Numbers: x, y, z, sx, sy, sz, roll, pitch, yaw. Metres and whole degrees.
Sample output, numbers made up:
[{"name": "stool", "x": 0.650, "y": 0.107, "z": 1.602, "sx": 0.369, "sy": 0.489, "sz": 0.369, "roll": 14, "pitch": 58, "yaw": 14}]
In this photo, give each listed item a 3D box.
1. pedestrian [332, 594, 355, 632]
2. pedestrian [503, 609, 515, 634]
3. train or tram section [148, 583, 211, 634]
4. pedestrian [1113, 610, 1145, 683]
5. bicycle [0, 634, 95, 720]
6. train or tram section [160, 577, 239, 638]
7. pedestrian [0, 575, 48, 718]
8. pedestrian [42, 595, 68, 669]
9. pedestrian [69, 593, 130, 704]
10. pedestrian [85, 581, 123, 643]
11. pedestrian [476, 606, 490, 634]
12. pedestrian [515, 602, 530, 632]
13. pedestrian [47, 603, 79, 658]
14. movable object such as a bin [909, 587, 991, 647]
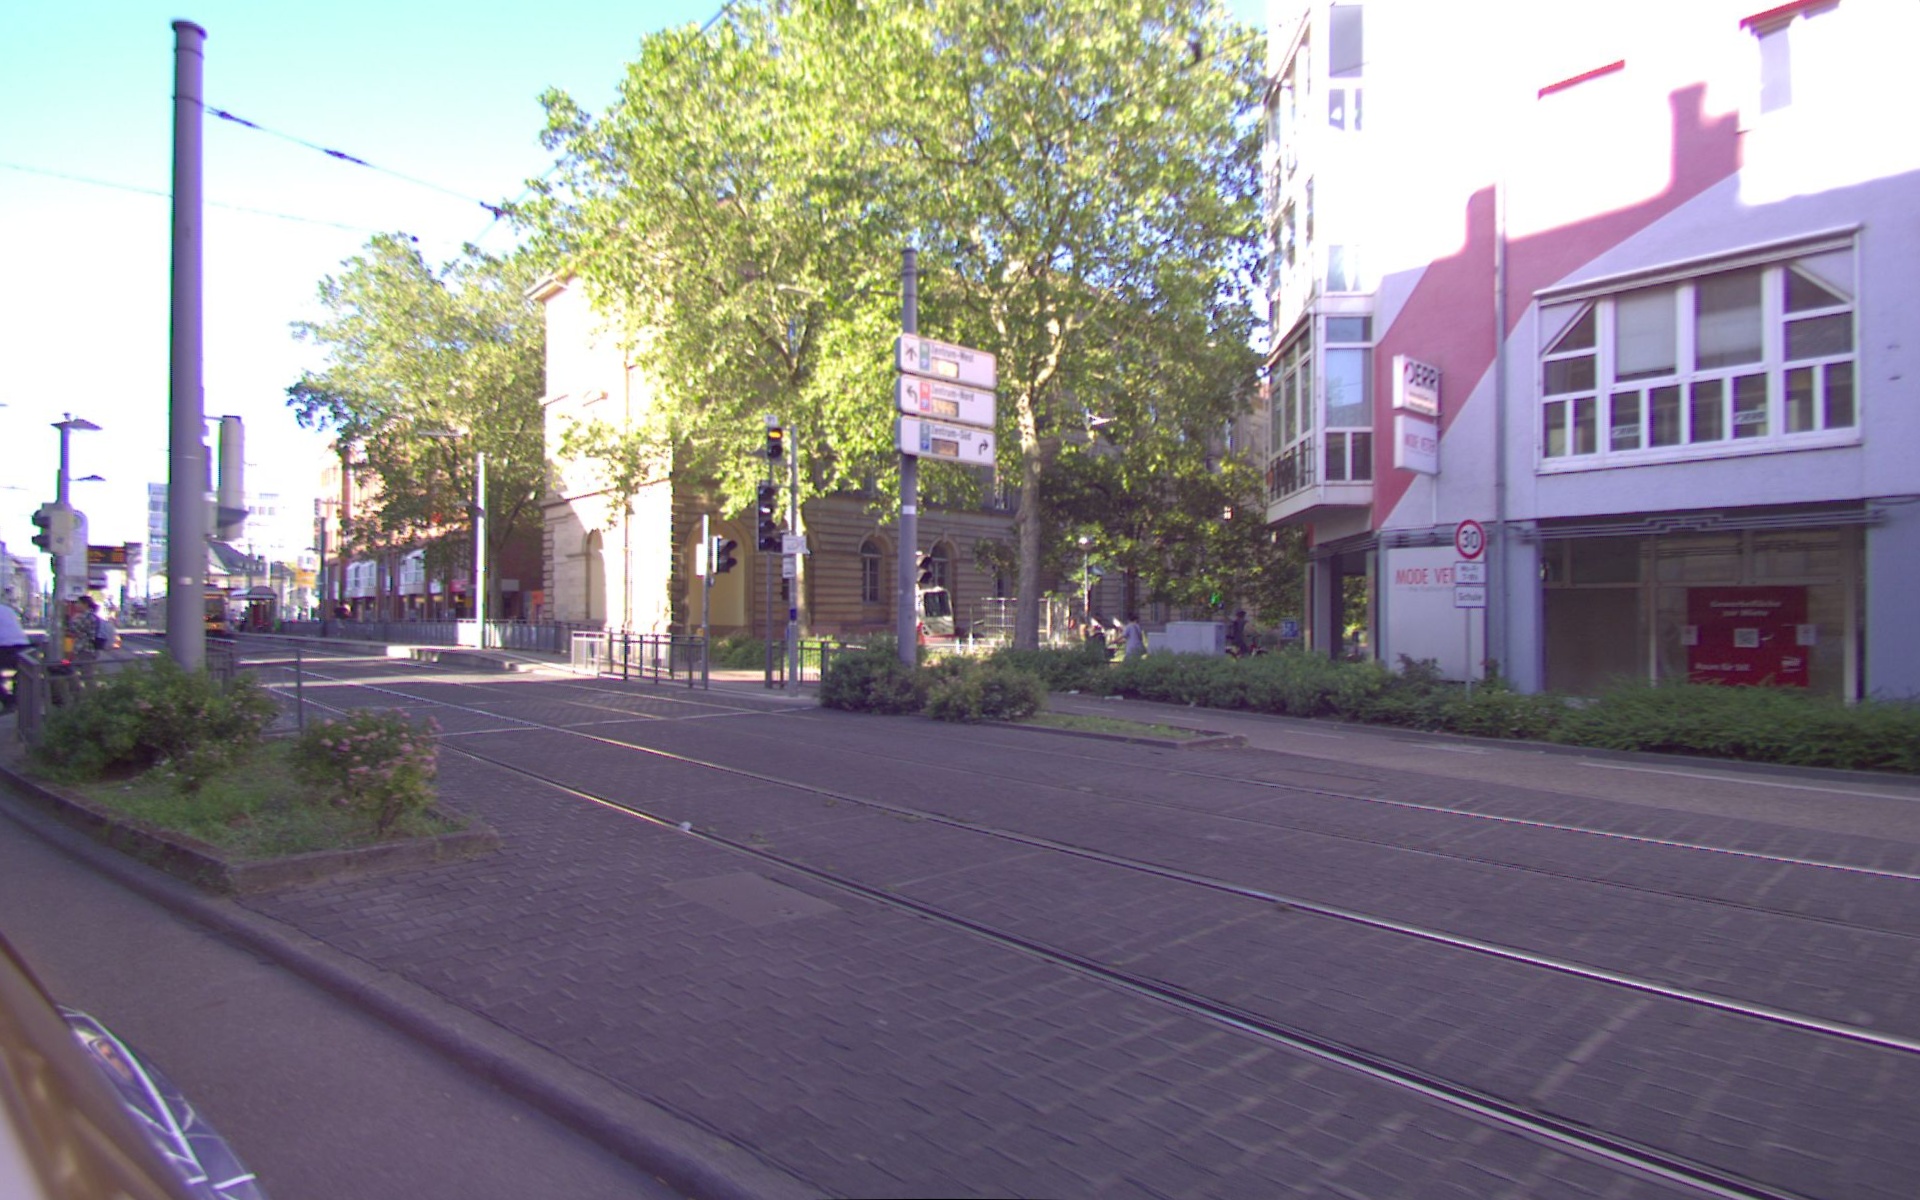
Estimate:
[{"name": "pedestrian", "x": -27.727, "y": 0.588, "z": 45.516, "sx": 0.687, "sy": 1.680, "sz": 1.034, "roll": 1, "pitch": -1, "yaw": -41}, {"name": "pedestrian", "x": -27.965, "y": 1.316, "z": 62.736, "sx": 0.576, "sy": 1.541, "sz": 0.475, "roll": 1, "pitch": -1, "yaw": -41}, {"name": "train or tram section", "x": -61.188, "y": 0.680, "z": 79.151, "sx": 2.938, "sy": 3.672, "sz": 13.962, "roll": -1, "pitch": 0, "yaw": -41}, {"name": "pedestrian", "x": 3.910, "y": 1.060, "z": 23.345, "sx": 0.669, "sy": 1.649, "sz": 0.687, "roll": 0, "pitch": -1, "yaw": 15}, {"name": "bicycle", "x": -12.683, "y": 1.008, "z": 13.344, "sx": 1.914, "sy": 1.102, "sz": 0.600, "roll": 0, "pitch": -1, "yaw": -8}, {"name": "train or tram section", "x": -51.047, "y": 0.605, "z": 67.678, "sx": 2.937, "sy": 3.672, "sz": 16.507, "roll": -1, "pitch": 0, "yaw": -41}, {"name": "pedestrian", "x": -12.738, "y": 0.603, "z": 13.381, "sx": 0.585, "sy": 1.835, "sz": 0.944, "roll": -1, "pitch": 0, "yaw": -11}, {"name": "pedestrian", "x": -26.476, "y": 0.932, "z": 29.599, "sx": 0.531, "sy": 2.136, "sz": 0.808, "roll": 1, "pitch": -2, "yaw": -42}, {"name": "pedestrian", "x": -12.903, "y": 0.705, "z": 15.175, "sx": 0.666, "sy": 1.602, "sz": 0.512, "roll": -1, "pitch": 2, "yaw": 39}, {"name": "pedestrian", "x": -24.445, "y": 0.333, "z": 28.905, "sx": 0.753, "sy": 1.747, "sz": 0.591, "roll": 0, "pitch": -1, "yaw": -35}, {"name": "pedestrian", "x": -31.230, "y": 1.289, "z": 66.307, "sx": 0.678, "sy": 1.819, "sz": 0.649, "roll": 1, "pitch": -1, "yaw": -41}, {"name": "pedestrian", "x": -27.231, "y": 1.050, "z": 63.038, "sx": 0.697, "sy": 1.896, "sz": 0.627, "roll": 1, "pitch": -1, "yaw": -38}, {"name": "pedestrian", "x": -22.177, "y": 0.745, "z": 25.016, "sx": 0.473, "sy": 1.339, "sz": 0.355, "roll": 0, "pitch": -1, "yaw": -12}, {"name": "movable object such as a bin", "x": -0.364, "y": 0.583, "z": 35.275, "sx": 2.604, "sy": 2.029, "sz": 1.178, "roll": 0, "pitch": -1, "yaw": -18}]
